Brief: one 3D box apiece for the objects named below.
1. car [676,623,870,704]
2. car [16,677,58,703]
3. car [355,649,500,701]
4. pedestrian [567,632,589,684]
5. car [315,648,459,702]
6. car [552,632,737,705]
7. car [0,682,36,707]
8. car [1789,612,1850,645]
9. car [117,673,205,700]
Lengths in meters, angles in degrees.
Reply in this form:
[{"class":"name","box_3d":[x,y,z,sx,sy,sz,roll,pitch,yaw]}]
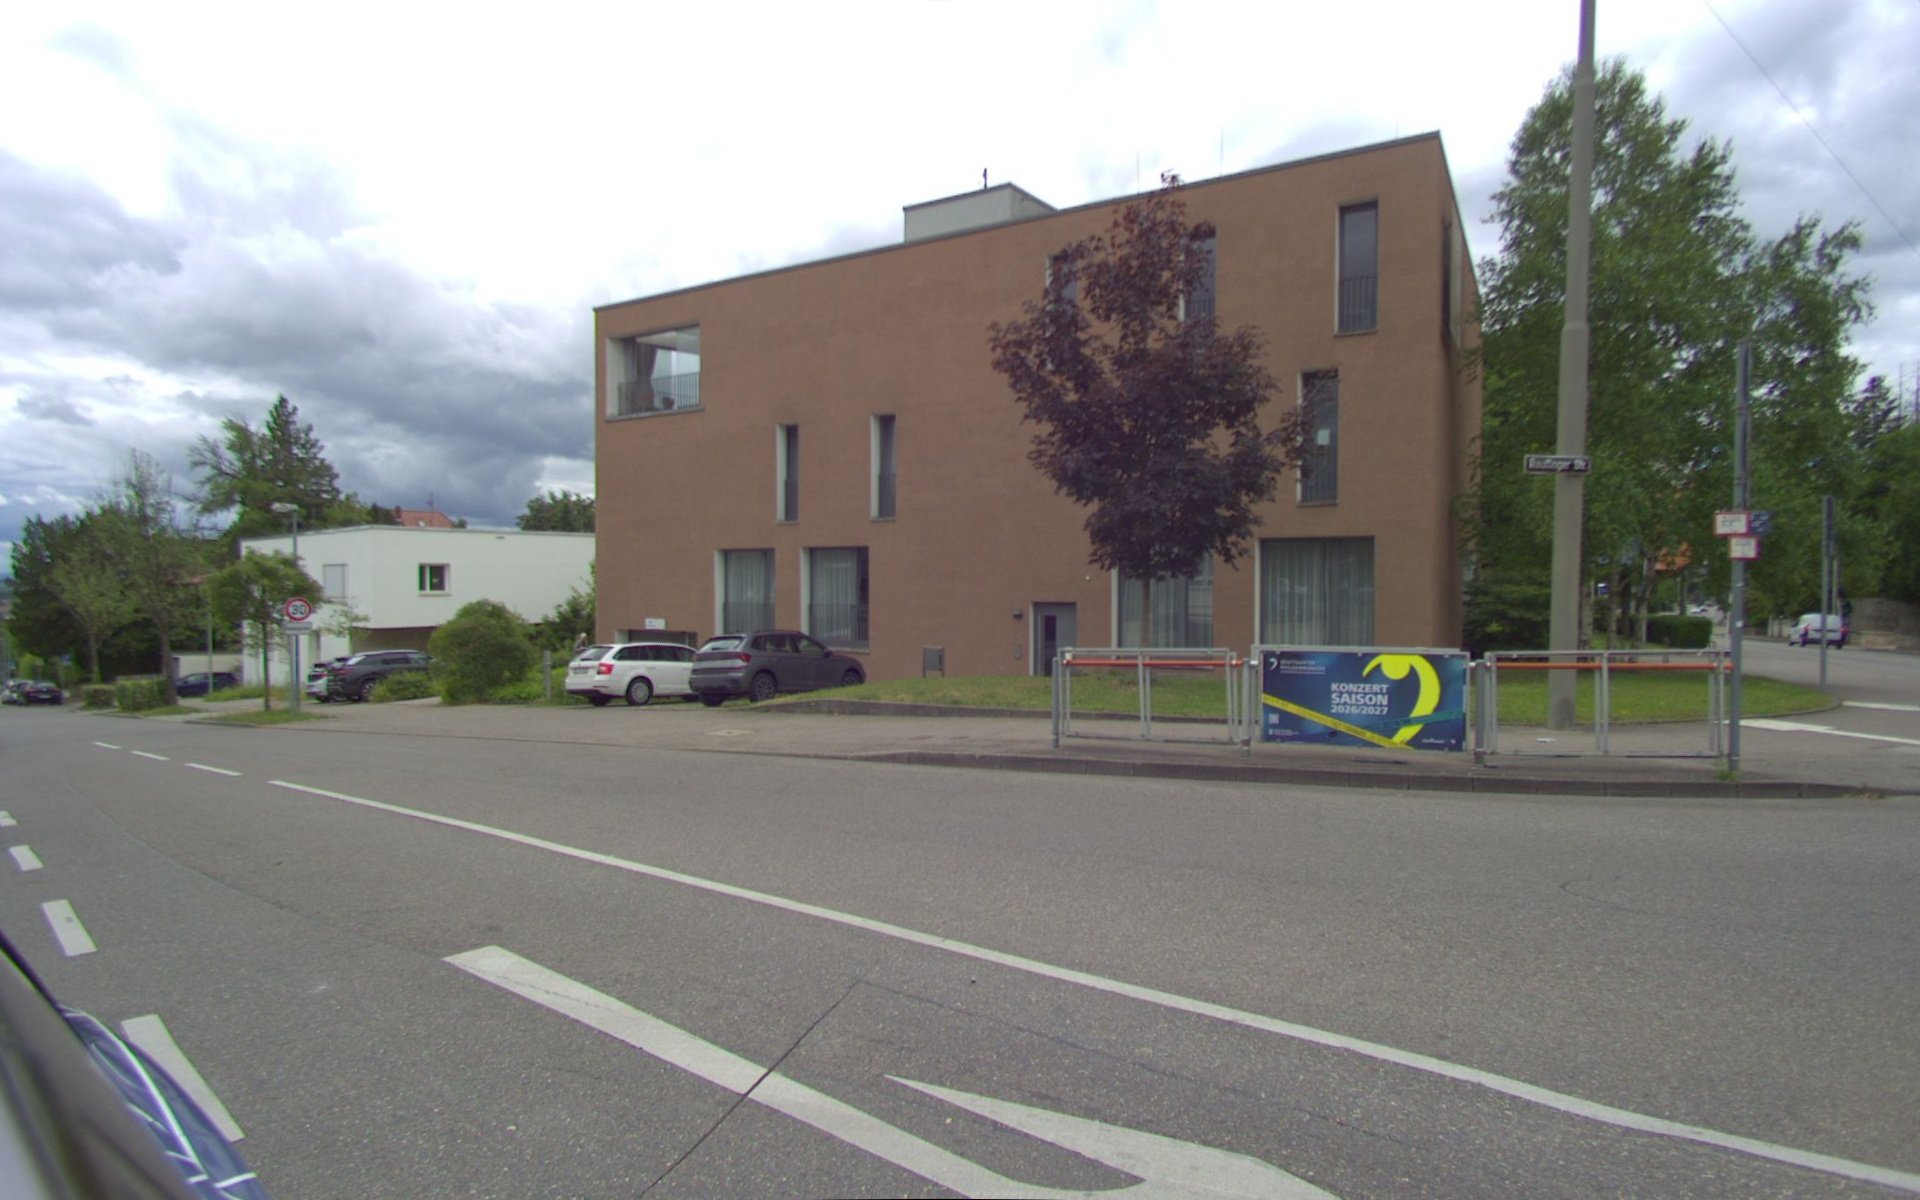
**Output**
[{"class":"car","box_3d":[-3.898,1.315,21.613,1.723,1.497,3.951,-5,-3,36]},{"class":"car","box_3d":[-54.999,5.367,60.277,1.639,1.432,4.002,0,-4,-45]},{"class":"car","box_3d":[-17.826,2.496,33.987,1.726,1.497,3.944,-5,-3,42]},{"class":"pedestrian","box_3d":[-14.298,2.152,37.874,0.558,1.921,0.590,-2,-2,41]},{"class":"car","box_3d":[-19.625,2.549,34.781,1.793,1.608,3.944,-5,-3,42]},{"class":"car","box_3d":[-7.417,1.595,24.135,1.723,1.497,3.951,-5,-3,36]},{"class":"car","box_3d":[-61.707,6.174,66.222,1.639,1.432,4.370,0,-4,-45]},{"class":"car","box_3d":[47.651,1.560,56.181,1.806,1.724,3.995,-1,-1,30]},{"class":"car","box_3d":[-46.878,5.063,59.410,3.940,1.296,1.664,0,-4,-44]}]
